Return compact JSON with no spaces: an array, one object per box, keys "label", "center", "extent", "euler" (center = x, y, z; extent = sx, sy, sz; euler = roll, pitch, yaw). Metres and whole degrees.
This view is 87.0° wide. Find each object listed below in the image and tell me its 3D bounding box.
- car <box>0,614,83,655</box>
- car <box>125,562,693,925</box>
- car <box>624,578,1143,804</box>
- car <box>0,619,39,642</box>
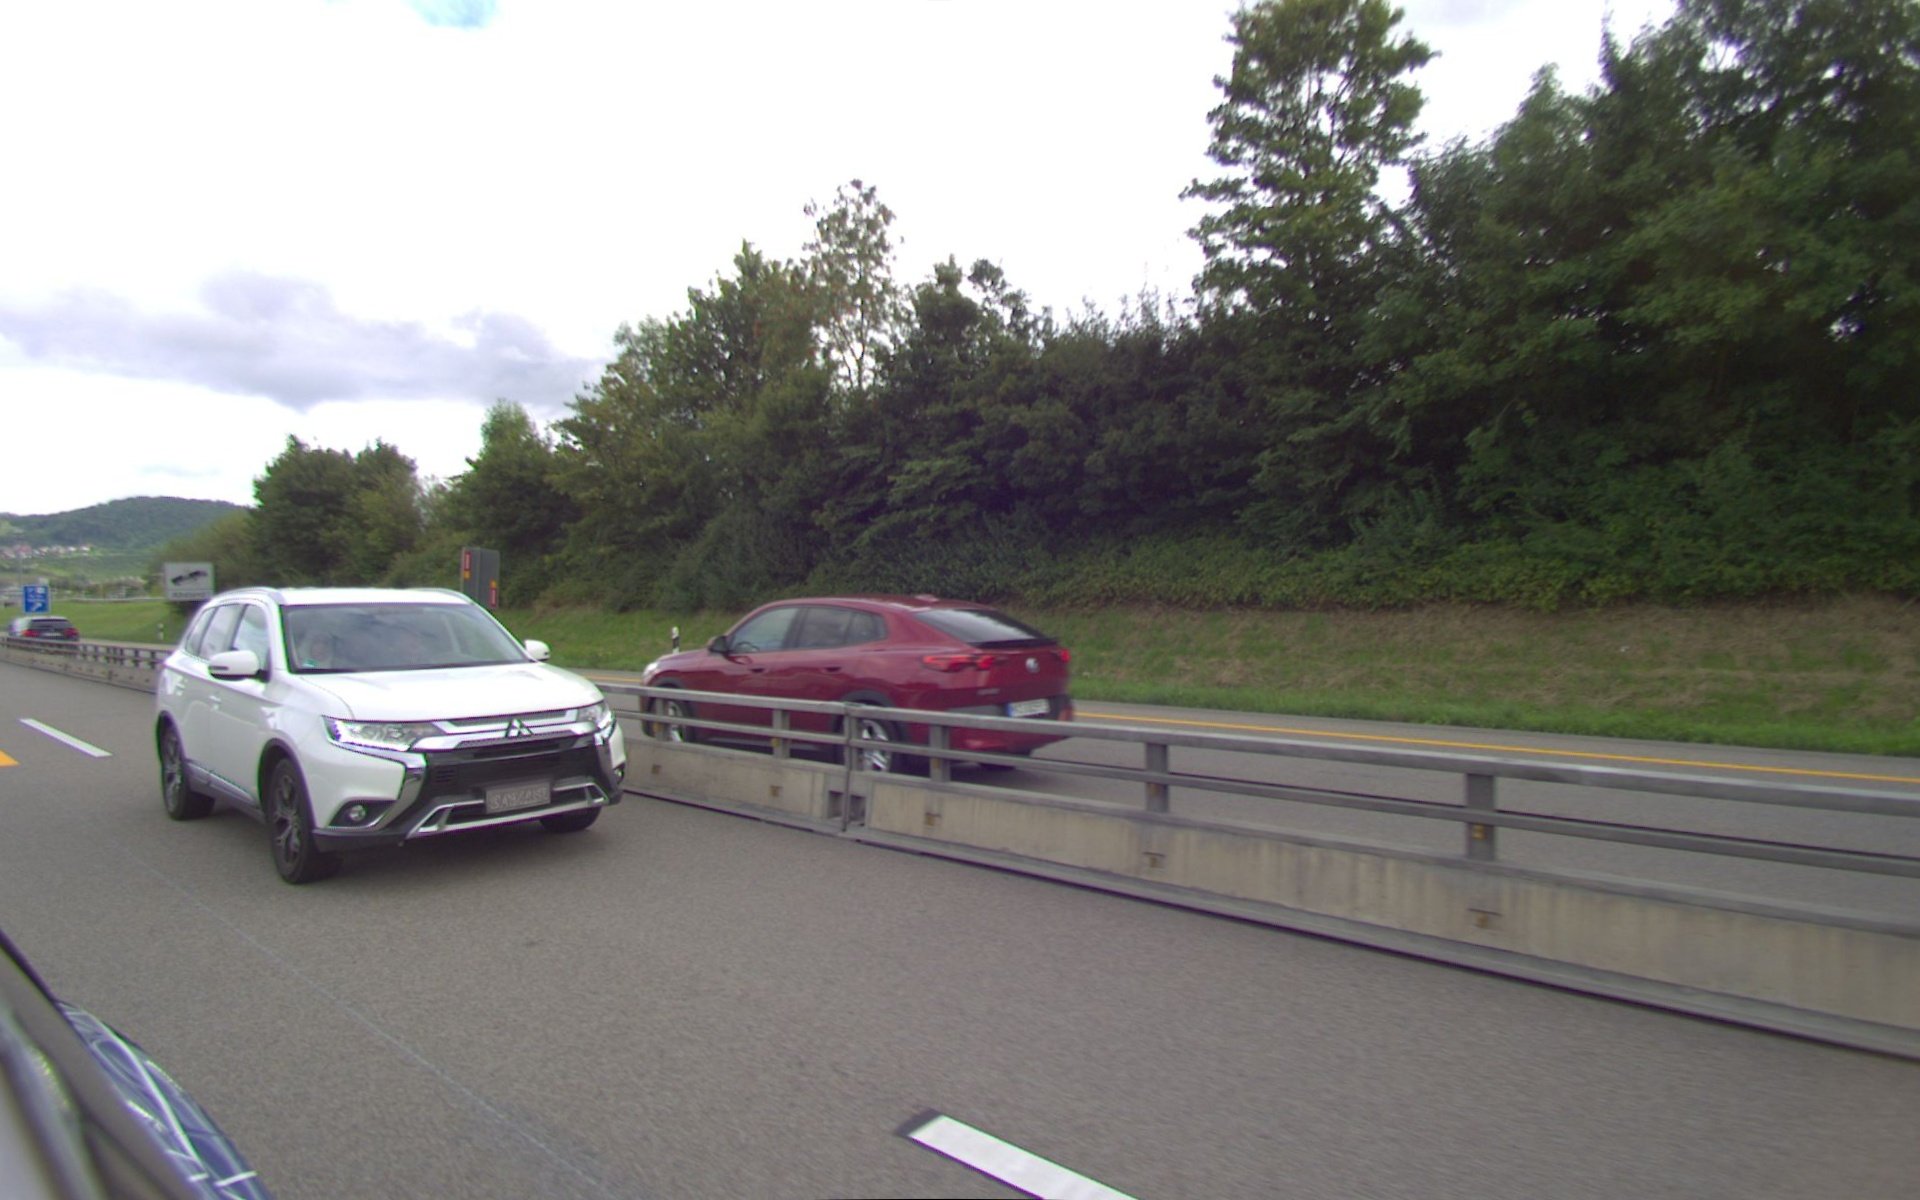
[{"label":"car","center":[-36.573,1.329,40.271],"extent":[4.899,1.511,1.977],"euler":[-1,-1,42]},{"label":"car","center":[-3.962,0.686,6.870],"extent":[4.605,1.640,1.972],"euler":[-1,-1,42]},{"label":"car","center":[-0.875,0.630,9.022],"extent":[4.586,1.502,1.915],"euler":[-1,1,40]},{"label":"car","center":[-60.842,1.936,65.338],"extent":[3.785,1.451,1.651],"euler":[-1,-1,41]}]
